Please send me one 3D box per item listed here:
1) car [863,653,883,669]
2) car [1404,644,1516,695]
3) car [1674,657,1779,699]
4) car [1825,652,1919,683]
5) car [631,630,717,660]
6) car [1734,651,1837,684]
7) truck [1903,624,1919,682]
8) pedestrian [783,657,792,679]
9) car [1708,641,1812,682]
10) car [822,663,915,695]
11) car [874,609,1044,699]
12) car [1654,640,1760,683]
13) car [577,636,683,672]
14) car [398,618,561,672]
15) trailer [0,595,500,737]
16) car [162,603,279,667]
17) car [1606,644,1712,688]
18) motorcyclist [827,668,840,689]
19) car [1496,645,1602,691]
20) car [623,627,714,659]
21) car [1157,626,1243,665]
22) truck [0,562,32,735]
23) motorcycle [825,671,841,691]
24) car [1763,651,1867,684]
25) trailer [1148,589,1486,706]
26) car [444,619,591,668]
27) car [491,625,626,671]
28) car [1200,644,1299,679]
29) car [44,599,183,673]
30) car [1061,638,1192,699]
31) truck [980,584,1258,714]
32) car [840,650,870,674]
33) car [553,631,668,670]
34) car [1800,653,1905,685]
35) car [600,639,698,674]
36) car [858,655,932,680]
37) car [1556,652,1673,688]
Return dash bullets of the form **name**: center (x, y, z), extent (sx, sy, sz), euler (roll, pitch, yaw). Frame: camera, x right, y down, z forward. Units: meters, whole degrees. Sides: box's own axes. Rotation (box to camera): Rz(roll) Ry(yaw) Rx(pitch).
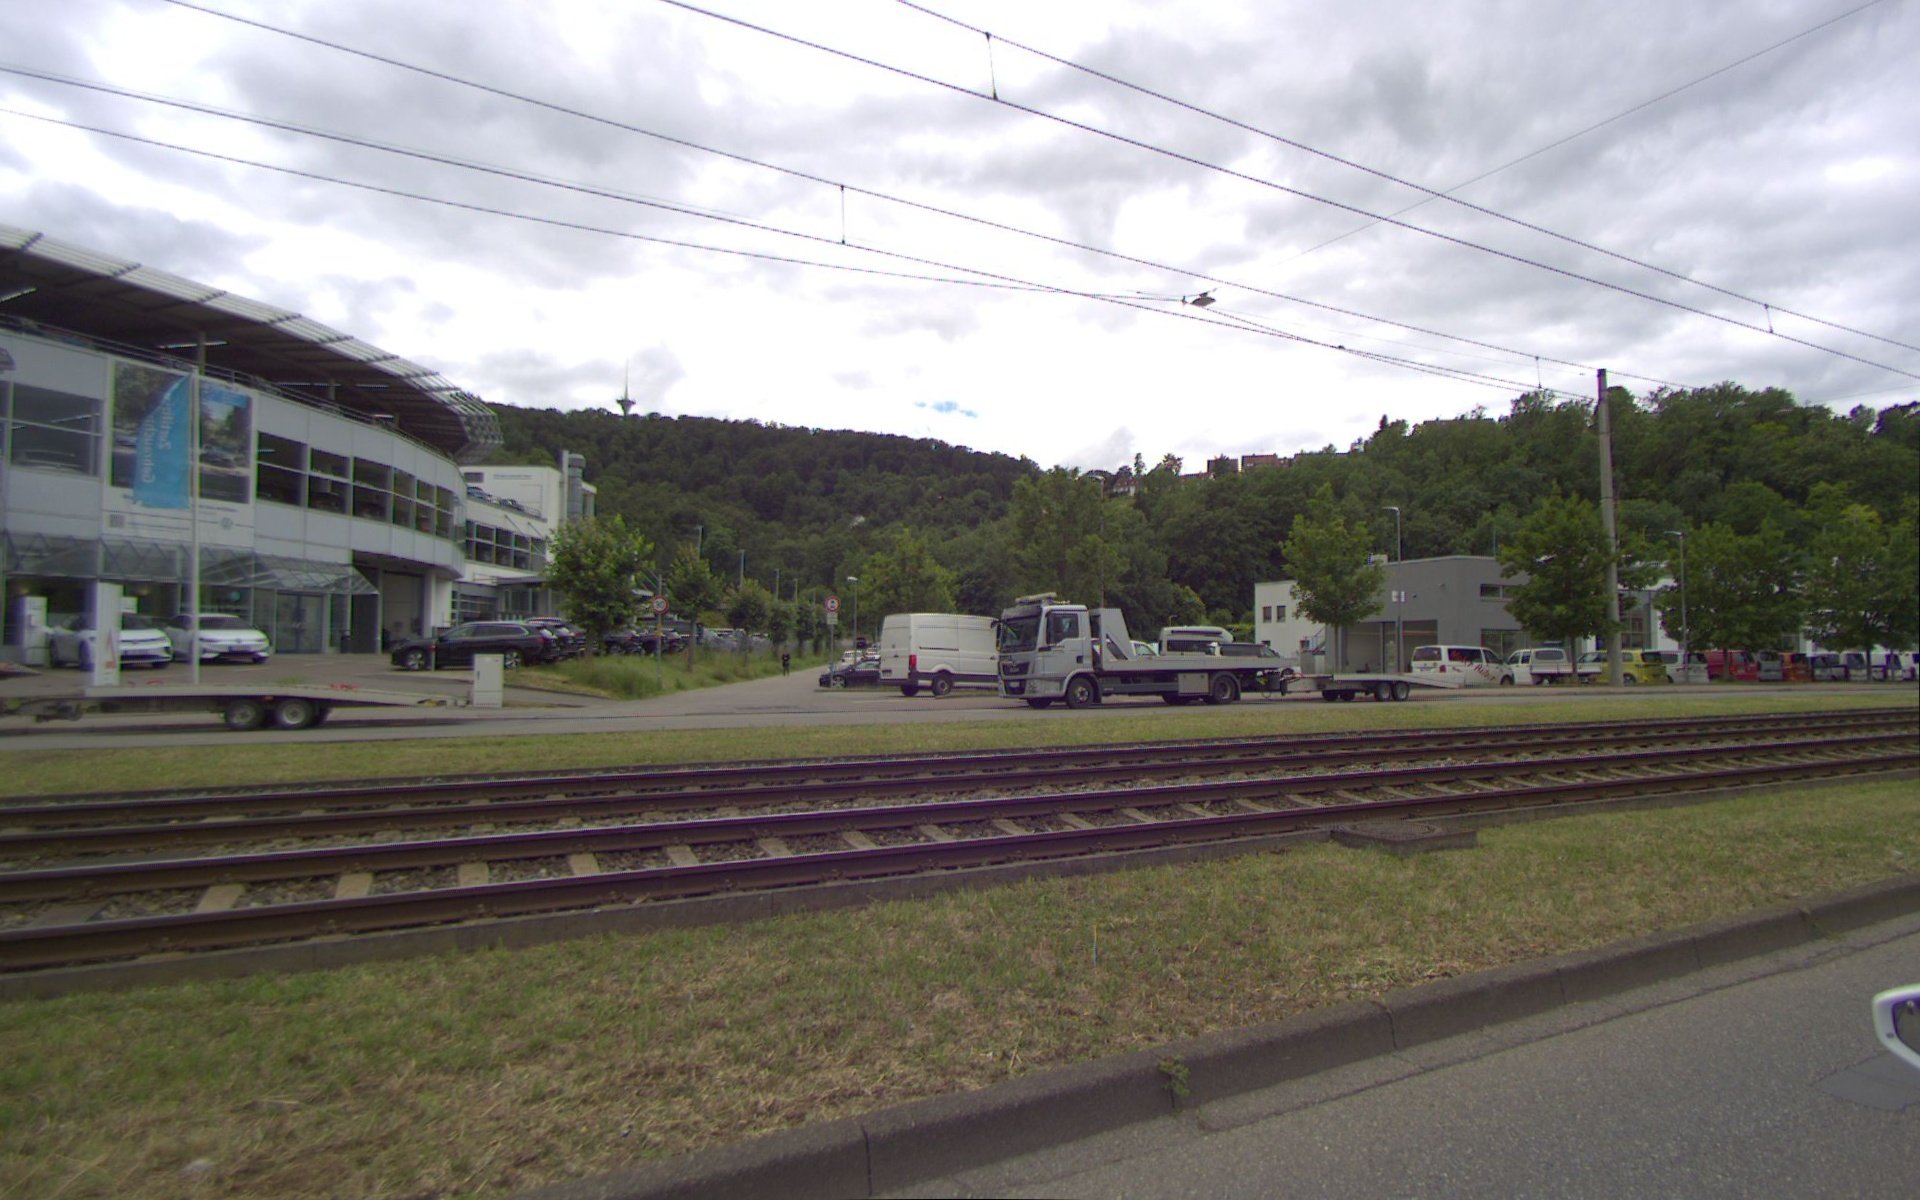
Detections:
- **car**: center (-8.454, 5.942, 97.984), extent (1.891, 1.549, 3.998), euler (1, -2, -5)
- **car**: center (21.855, 3.038, 43.860), extent (4.550, 1.922, 1.988), euler (5, -5, -25)
- **car**: center (40.441, 4.089, 53.085), extent (1.973, 2.039, 3.977), euler (5, -4, -24)
- **car**: center (52.216, 3.818, 57.304), extent (1.806, 1.728, 3.982), euler (0, -3, -21)
- **car**: center (-15.523, 2.460, 54.677), extent (4.193, 1.594, 1.871), euler (1, -2, -5)
- **car**: center (45.152, 3.673, 55.009), extent (1.806, 1.728, 3.982), euler (2, -3, -20)
- **truck**: center (47.121, 2.451, 46.072), extent (6.806, 2.623, 2.880), euler (1, -2, -20)
- **pedestrian**: center (-10.183, 4.006, 59.333), extent (0.394, 1.308, 0.440), euler (5, -4, -23)
- **car**: center (43.110, 3.308, 54.219), extent (1.973, 2.039, 3.977), euler (5, -4, -24)
- **car**: center (-3.927, 3.412, 43.624), extent (3.923, 1.283, 1.610), euler (1, -2, -4)
- **car**: center (0.029, 1.736, 32.604), extent (5.387, 2.680, 1.989), euler (2, -3, -36)
- **car**: center (38.458, 3.157, 51.817), extent (1.973, 2.039, 3.977), euler (5, -4, -24)
- **car**: center (-14.862, 2.437, 45.463), extent (4.193, 1.594, 1.871), euler (1, -2, -5)
- **car**: center (-15.041, 1.414, 31.617), extent (4.193, 1.594, 1.871), euler (1, -2, -5)
- **trailer**: center (-12.190, 1.153, 17.818), extent (7.225, 2.155, 2.284), euler (1, -5, -28)
- **car**: center (-23.281, 1.092, 31.589), extent (3.940, 1.794, 1.992), euler (0, -5, 41)
- **car**: center (35.328, 3.299, 50.897), extent (1.973, 2.039, 3.977), euler (5, -4, -24)
- **motorcyclist**: center (-6.139, 3.809, 48.737), extent (0.549, 0.958, 0.660), euler (1, -2, -3)
- **car**: center (27.615, 3.204, 47.284), extent (1.962, 1.922, 4.609), euler (4, -4, -5)
- **car**: center (-14.970, 2.212, 51.787), extent (4.193, 1.594, 1.871), euler (1, -2, -5)
- **car**: center (14.354, 2.725, 60.182), extent (4.783, 2.220, 1.611), euler (1, -2, -1)
- **truck**: center (-18.939, 0.661, 14.298), extent (7.922, 2.774, 2.277), euler (2, -6, -28)
- **motorcycle**: center (-6.152, 3.913, 48.705), extent (0.582, 0.864, 1.936), euler (1, -2, -3)
- **car**: center (47.259, 3.716, 55.637), extent (1.806, 1.728, 3.982), euler (0, -3, -21)
- **trailer**: center (10.709, 1.396, 29.613), extent (10.651, 3.021, 2.883), euler (1, -2, -27)
- **car**: center (-15.137, 1.499, 34.521), extent (4.193, 1.594, 1.871), euler (1, -2, -5)
- **car**: center (-14.663, 1.753, 36.872), extent (4.193, 1.594, 1.871), euler (1, -2, -5)
- **car**: center (15.407, 3.288, 53.600), extent (4.783, 1.788, 1.611), euler (1, -2, -1)
- **car**: center (-24.024, 1.014, 28.488), extent (3.935, 1.794, 1.995), euler (1, -6, 36)
- **car**: center (6.080, 2.506, 36.675), extent (4.203, 1.900, 2.148), euler (6, -5, -27)
- **truck**: center (4.198, 1.267, 26.318), extent (6.820, 3.029, 2.874), euler (1, -2, -26)
- **car**: center (-7.010, 4.155, 67.485), extent (1.891, 1.549, 3.998), euler (1, -2, -5)
- **car**: center (-14.612, 2.119, 42.199), extent (4.193, 1.594, 1.871), euler (1, -2, -5)
- **car**: center (49.946, 3.845, 56.290), extent (1.806, 1.728, 3.982), euler (1, -3, -21)
- **car**: center (-14.926, 2.700, 48.402), extent (4.193, 1.594, 1.871), euler (1, -2, -5)
- **car**: center (-3.531, 3.657, 54.595), extent (3.923, 1.283, 1.610), euler (1, -2, -4)
- **car**: center (32.524, 3.458, 50.066), extent (1.974, 1.594, 4.582), euler (5, -5, -25)
